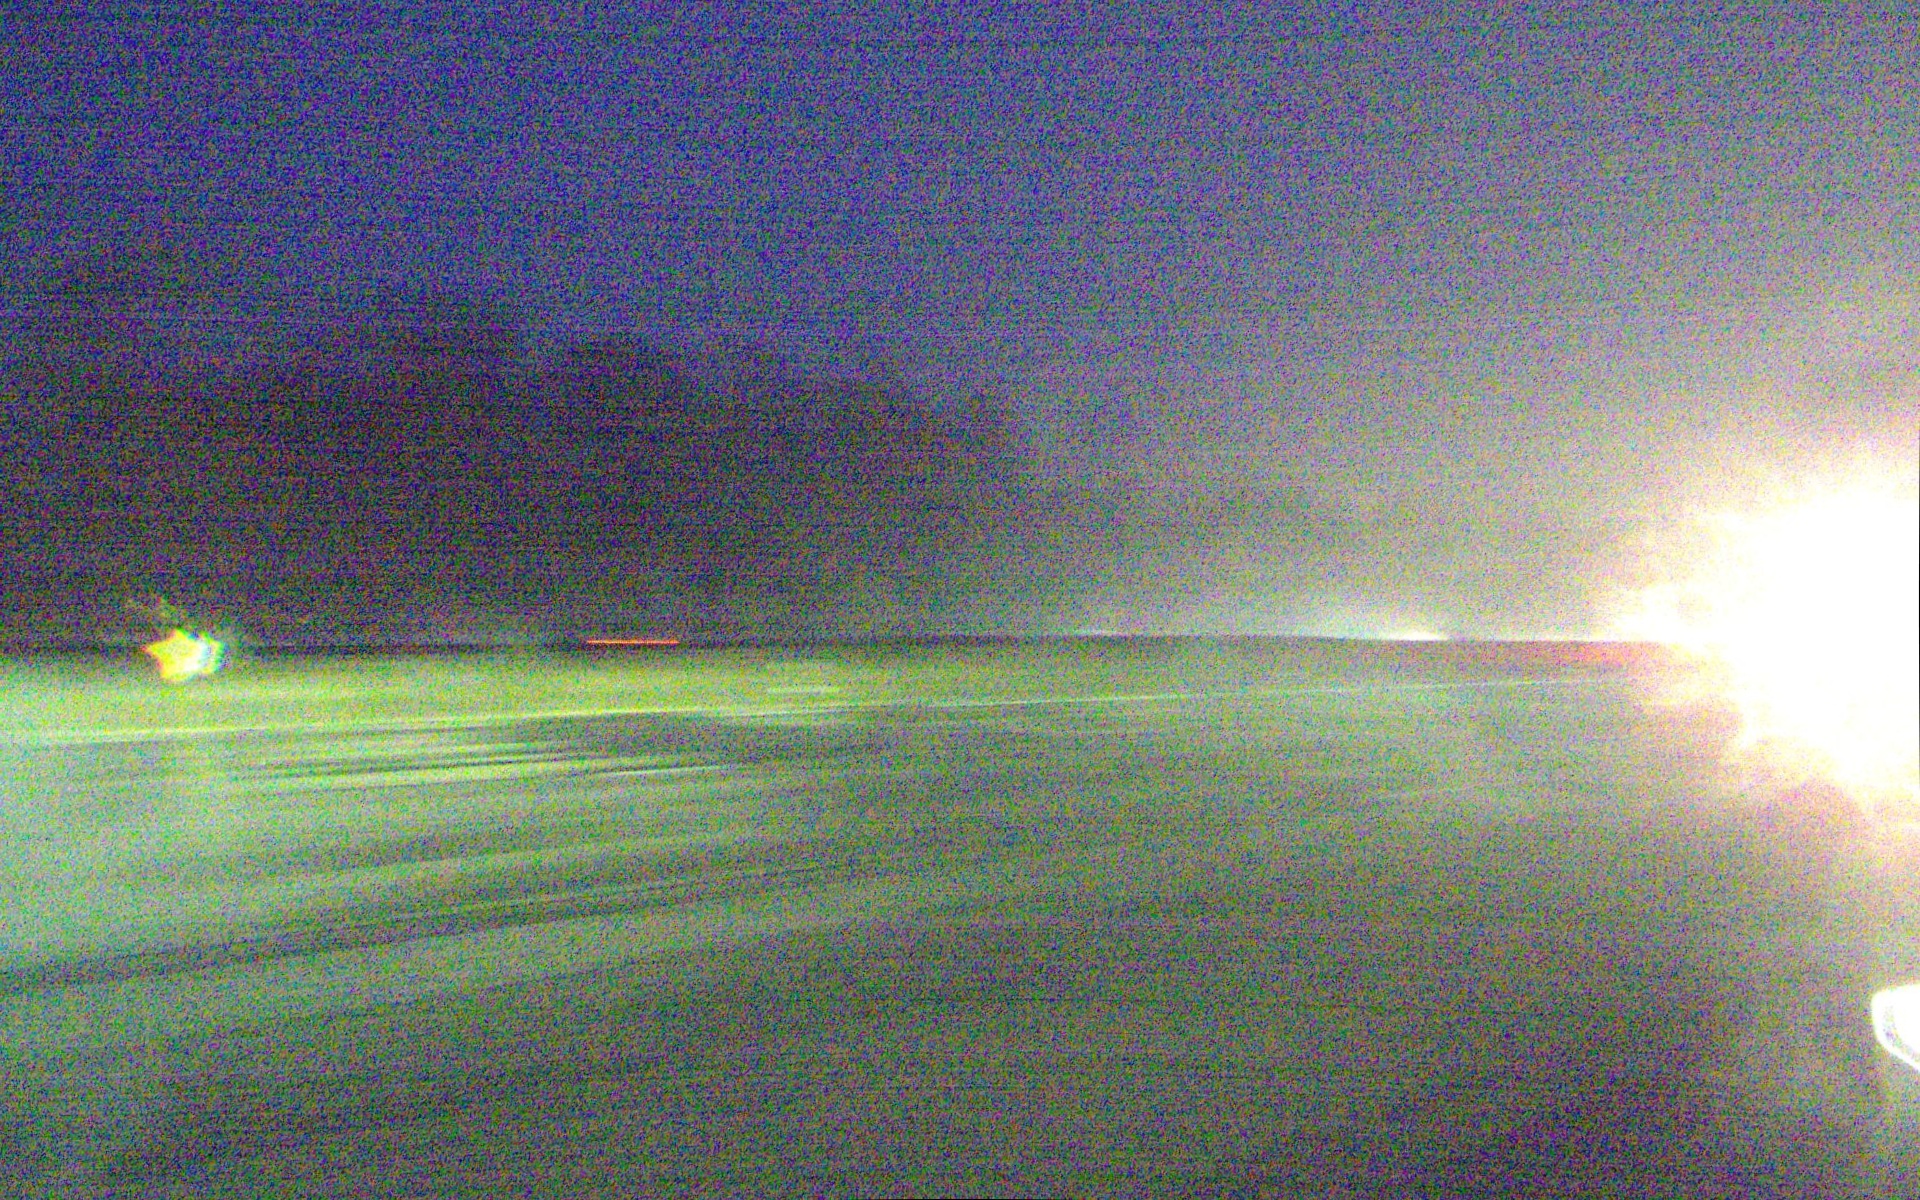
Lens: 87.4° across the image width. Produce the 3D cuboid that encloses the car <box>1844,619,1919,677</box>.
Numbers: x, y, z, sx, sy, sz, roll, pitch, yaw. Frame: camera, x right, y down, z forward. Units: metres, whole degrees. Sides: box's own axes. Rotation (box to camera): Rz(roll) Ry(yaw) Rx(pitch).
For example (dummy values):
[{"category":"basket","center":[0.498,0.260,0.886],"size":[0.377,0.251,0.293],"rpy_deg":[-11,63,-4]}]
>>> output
[{"category":"car","center":[28.753,1.442,30.570],"size":[3.963,1.617,1.979],"rpy_deg":[2,0,-37]}]
